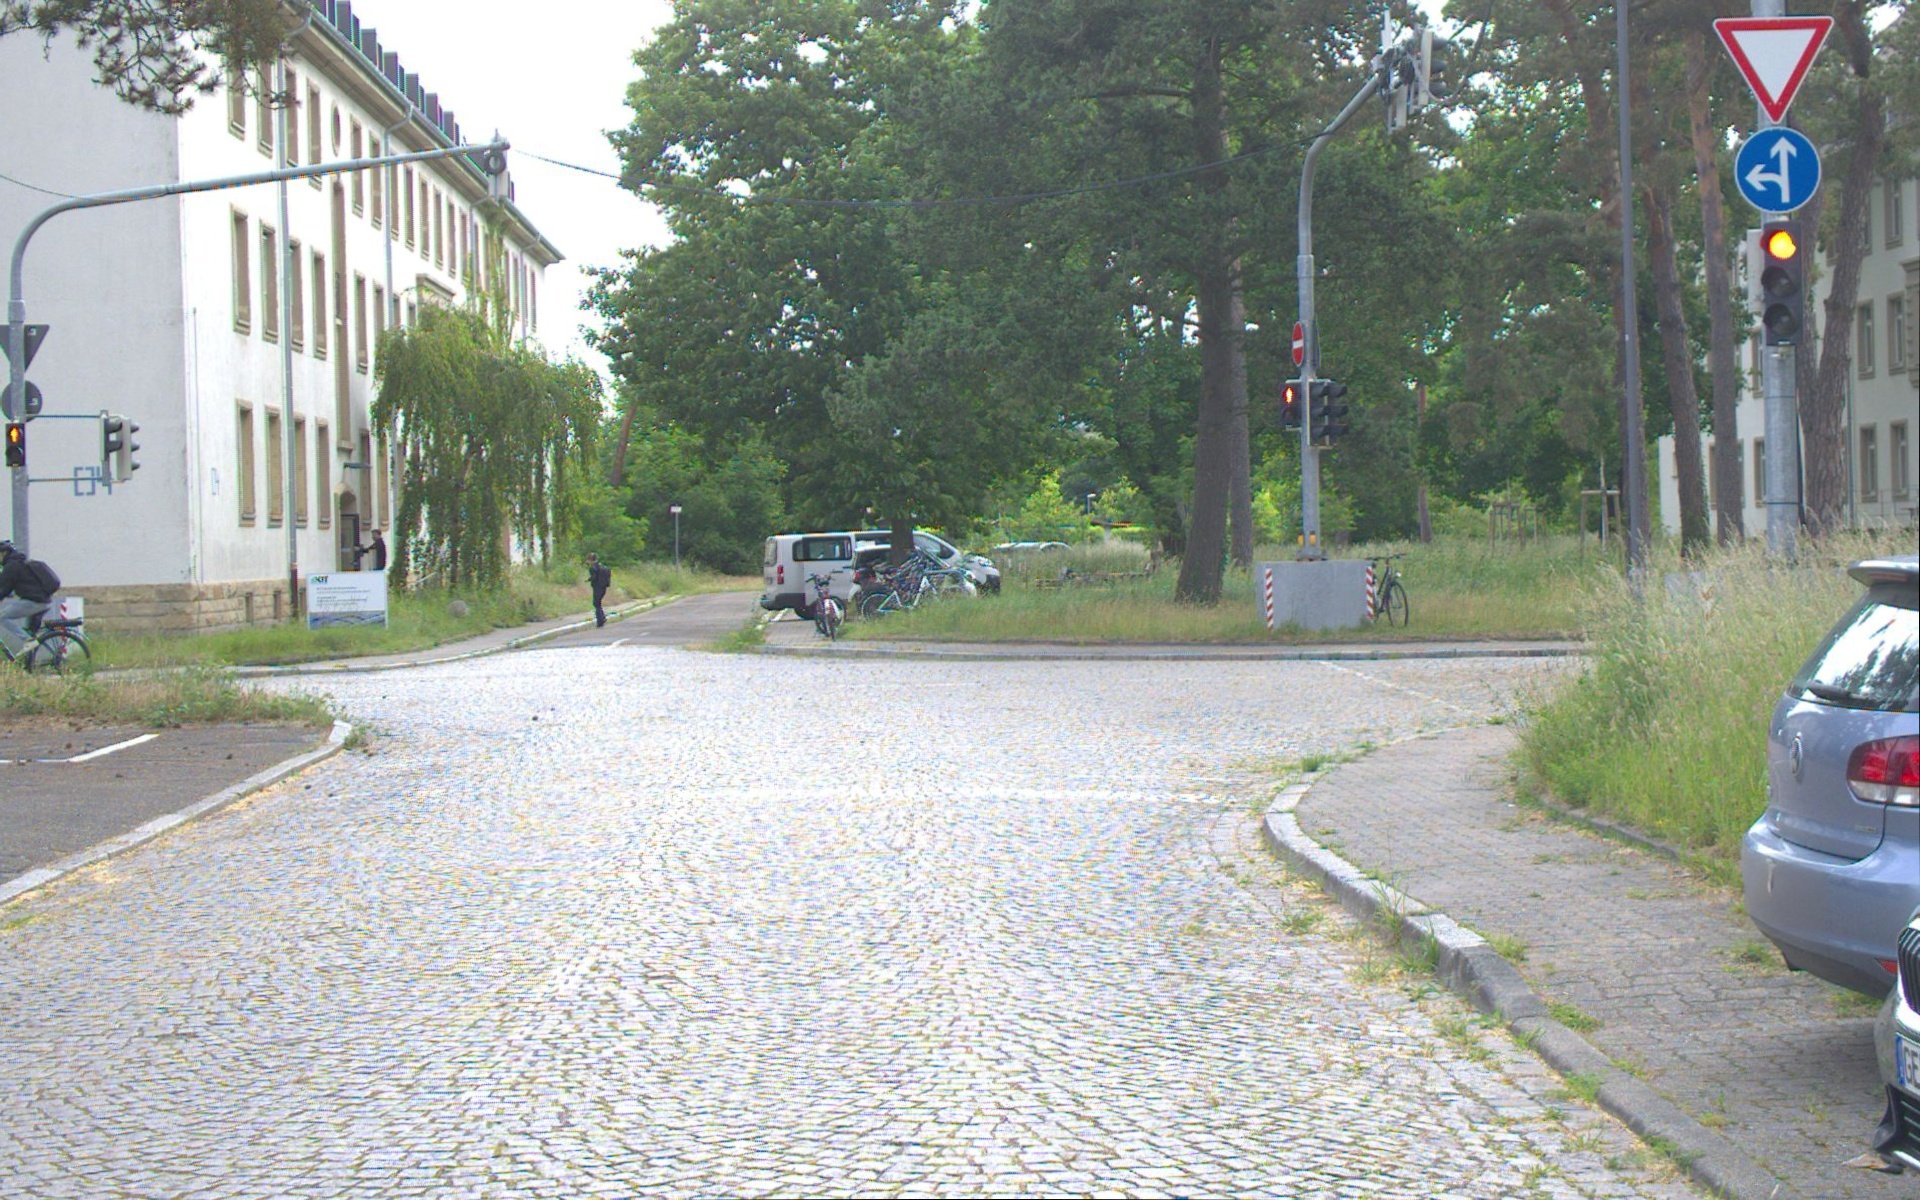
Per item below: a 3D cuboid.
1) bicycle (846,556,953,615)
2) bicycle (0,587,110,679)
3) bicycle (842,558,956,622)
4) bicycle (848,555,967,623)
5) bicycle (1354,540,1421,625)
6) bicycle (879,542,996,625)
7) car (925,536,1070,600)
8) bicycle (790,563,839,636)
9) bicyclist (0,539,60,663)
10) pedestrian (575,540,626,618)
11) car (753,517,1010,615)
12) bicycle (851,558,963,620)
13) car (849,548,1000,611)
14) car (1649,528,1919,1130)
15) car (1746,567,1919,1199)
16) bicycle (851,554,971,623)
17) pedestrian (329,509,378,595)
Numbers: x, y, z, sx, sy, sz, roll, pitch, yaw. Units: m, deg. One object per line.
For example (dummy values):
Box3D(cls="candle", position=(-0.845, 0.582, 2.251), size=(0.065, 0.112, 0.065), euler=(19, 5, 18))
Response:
Box3D(cls="bicycle", position=(-1.143, -0.280, 65.328), size=(1.955, 1.066, 0.588), euler=(-2, 1, -26))
Box3D(cls="bicycle", position=(-10.862, 0.384, 39.637), size=(1.955, 1.020, 0.605), euler=(-1, 1, -2))
Box3D(cls="bicycle", position=(-1.060, -0.187, 60.292), size=(1.955, 1.066, 0.588), euler=(-2, 1, -31))
Box3D(cls="bicycle", position=(-0.908, -0.189, 58.812), size=(1.954, 1.113, 0.588), euler=(-1, 1, -8))
Box3D(cls="bicycle", position=(5.739, -0.251, 46.209), size=(0.586, 1.102, 1.962), euler=(-1, 1, -2))
Box3D(cls="bicycle", position=(-0.394, -0.292, 59.653), size=(1.954, 1.379, 0.588), euler=(-1, 1, -8))
Box3D(cls="car", position=(0.856, -0.753, 80.185), size=(3.231, 1.411, 1.725), euler=(-1, 1, -4))
Box3D(cls="bicycle", position=(-2.333, -0.023, 54.951), size=(0.603, 1.128, 1.962), euler=(-1, 1, -7))
Box3D(cls="bicyclist", position=(-10.839, 0.004, 39.629), size=(0.749, 1.405, 0.605), euler=(-1, 1, -2))
Box3D(cls="pedestrian", position=(-7.514, -0.443, 71.878), size=(0.775, 1.613, 0.740), euler=(-1, 1, 23))
Box3D(cls="car", position=(-1.760, -0.755, 76.244), size=(5.359, 1.918, 2.025), euler=(-3, 1, -10))
Box3D(cls="bicycle", position=(-0.949, -0.209, 61.645), size=(1.955, 1.066, 0.588), euler=(-2, 1, -31))
Box3D(cls="car", position=(-0.764, -0.442, 72.906), size=(3.005, 1.264, 1.535), euler=(-1, 1, -7))
Box3D(cls="car", position=(4.050, 0.480, 9.431), size=(3.927, 1.472, 1.642), euler=(-3, 1, 0))
Box3D(cls="car", position=(4.201, 0.547, 6.982), size=(4.680, 1.412, 1.871), euler=(-3, 1, -4))
Box3D(cls="bicycle", position=(-0.825, -0.203, 58.180), size=(1.954, 1.128, 0.588), euler=(-1, 1, -8))
Box3D(cls="pedestrian", position=(-12.996, -1.027, 73.643), size=(0.774, 1.831, 0.741), euler=(-2, 1, -33))
